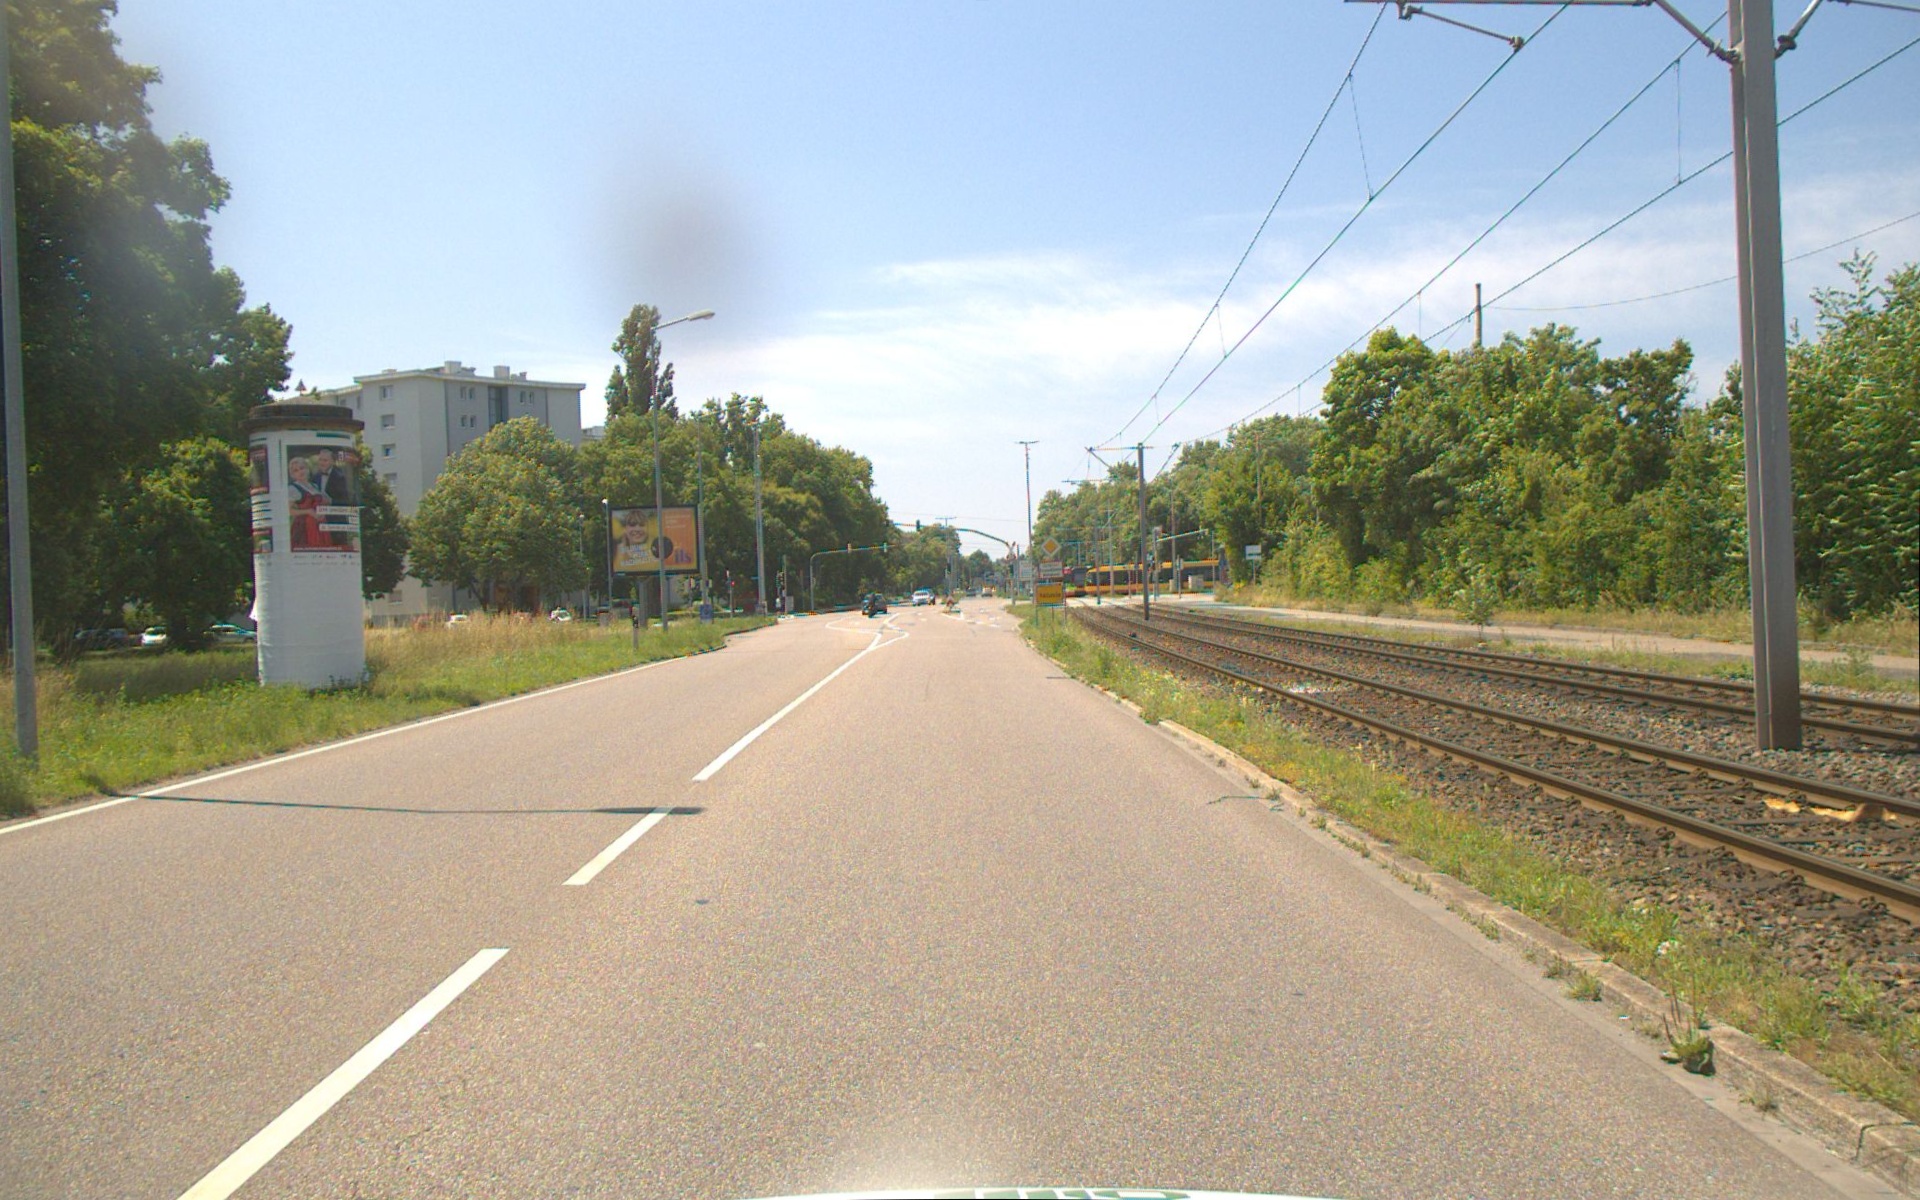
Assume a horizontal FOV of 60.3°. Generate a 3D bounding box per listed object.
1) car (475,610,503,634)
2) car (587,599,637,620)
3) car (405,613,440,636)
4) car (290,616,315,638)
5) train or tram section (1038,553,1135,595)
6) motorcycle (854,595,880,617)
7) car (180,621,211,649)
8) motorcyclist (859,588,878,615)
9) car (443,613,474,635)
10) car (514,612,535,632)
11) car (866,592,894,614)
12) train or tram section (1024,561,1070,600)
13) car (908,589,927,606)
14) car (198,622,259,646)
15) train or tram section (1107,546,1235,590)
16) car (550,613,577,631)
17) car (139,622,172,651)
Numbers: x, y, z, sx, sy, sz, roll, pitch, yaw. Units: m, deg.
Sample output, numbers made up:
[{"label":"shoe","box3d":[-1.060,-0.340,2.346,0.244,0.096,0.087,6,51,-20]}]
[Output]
[{"label":"car","box3d":[-37.386,1.727,131.174,1.681,1.832,3.973,-2,0,-22]},{"label":"car","box3d":[-33.270,0.920,158.390,1.758,1.798,4.525,-2,0,40]},{"label":"car","box3d":[-42.028,1.914,129.311,1.827,1.697,3.960,-3,0,-30]},{"label":"car","box3d":[-49.963,2.021,125.808,1.664,1.589,3.813,-3,0,-21]},{"label":"train or tram section","box3d":[14.243,-2.843,187.978,2.892,3.878,13.278,0,-3,-37]},{"label":"motorcycle","box3d":[-5.709,0.381,102.054,0.829,1.277,2.451,-1,0,16]},{"label":"car","box3d":[-56.481,2.585,122.257,1.820,1.982,3.973,-2,0,-22]},{"label":"motorcyclist","box3d":[-5.656,0.081,102.238,0.773,1.671,1.212,-1,0,15]},{"label":"car","box3d":[-39.483,1.890,130.221,1.684,1.620,3.966,-2,0,-26]},{"label":"car","box3d":[-34.745,1.772,131.874,1.591,1.489,3.983,-2,0,-15]},{"label":"car","box3d":[-5.675,0.198,117.961,1.868,1.525,4.629,-1,0,-2]},{"label":"train or tram section","box3d":[10.336,-2.294,197.999,2.860,3.878,13.045,-1,-3,-9]},{"label":"car","box3d":[-4.273,-0.279,166.116,1.748,1.657,3.865,-3,0,1]},{"label":"car","box3d":[-50.640,2.331,114.563,3.835,1.494,1.762,-2,0,-25]},{"label":"train or tram section","box3d":[23.039,-3.445,181.148,13.723,3.988,2.920,-3,-3,27]},{"label":"car","box3d":[-32.007,1.746,133.440,1.601,1.404,3.975,-2,0,-21]},{"label":"car","box3d":[-59.194,2.658,121.697,1.820,1.982,3.973,-2,0,-22]}]
